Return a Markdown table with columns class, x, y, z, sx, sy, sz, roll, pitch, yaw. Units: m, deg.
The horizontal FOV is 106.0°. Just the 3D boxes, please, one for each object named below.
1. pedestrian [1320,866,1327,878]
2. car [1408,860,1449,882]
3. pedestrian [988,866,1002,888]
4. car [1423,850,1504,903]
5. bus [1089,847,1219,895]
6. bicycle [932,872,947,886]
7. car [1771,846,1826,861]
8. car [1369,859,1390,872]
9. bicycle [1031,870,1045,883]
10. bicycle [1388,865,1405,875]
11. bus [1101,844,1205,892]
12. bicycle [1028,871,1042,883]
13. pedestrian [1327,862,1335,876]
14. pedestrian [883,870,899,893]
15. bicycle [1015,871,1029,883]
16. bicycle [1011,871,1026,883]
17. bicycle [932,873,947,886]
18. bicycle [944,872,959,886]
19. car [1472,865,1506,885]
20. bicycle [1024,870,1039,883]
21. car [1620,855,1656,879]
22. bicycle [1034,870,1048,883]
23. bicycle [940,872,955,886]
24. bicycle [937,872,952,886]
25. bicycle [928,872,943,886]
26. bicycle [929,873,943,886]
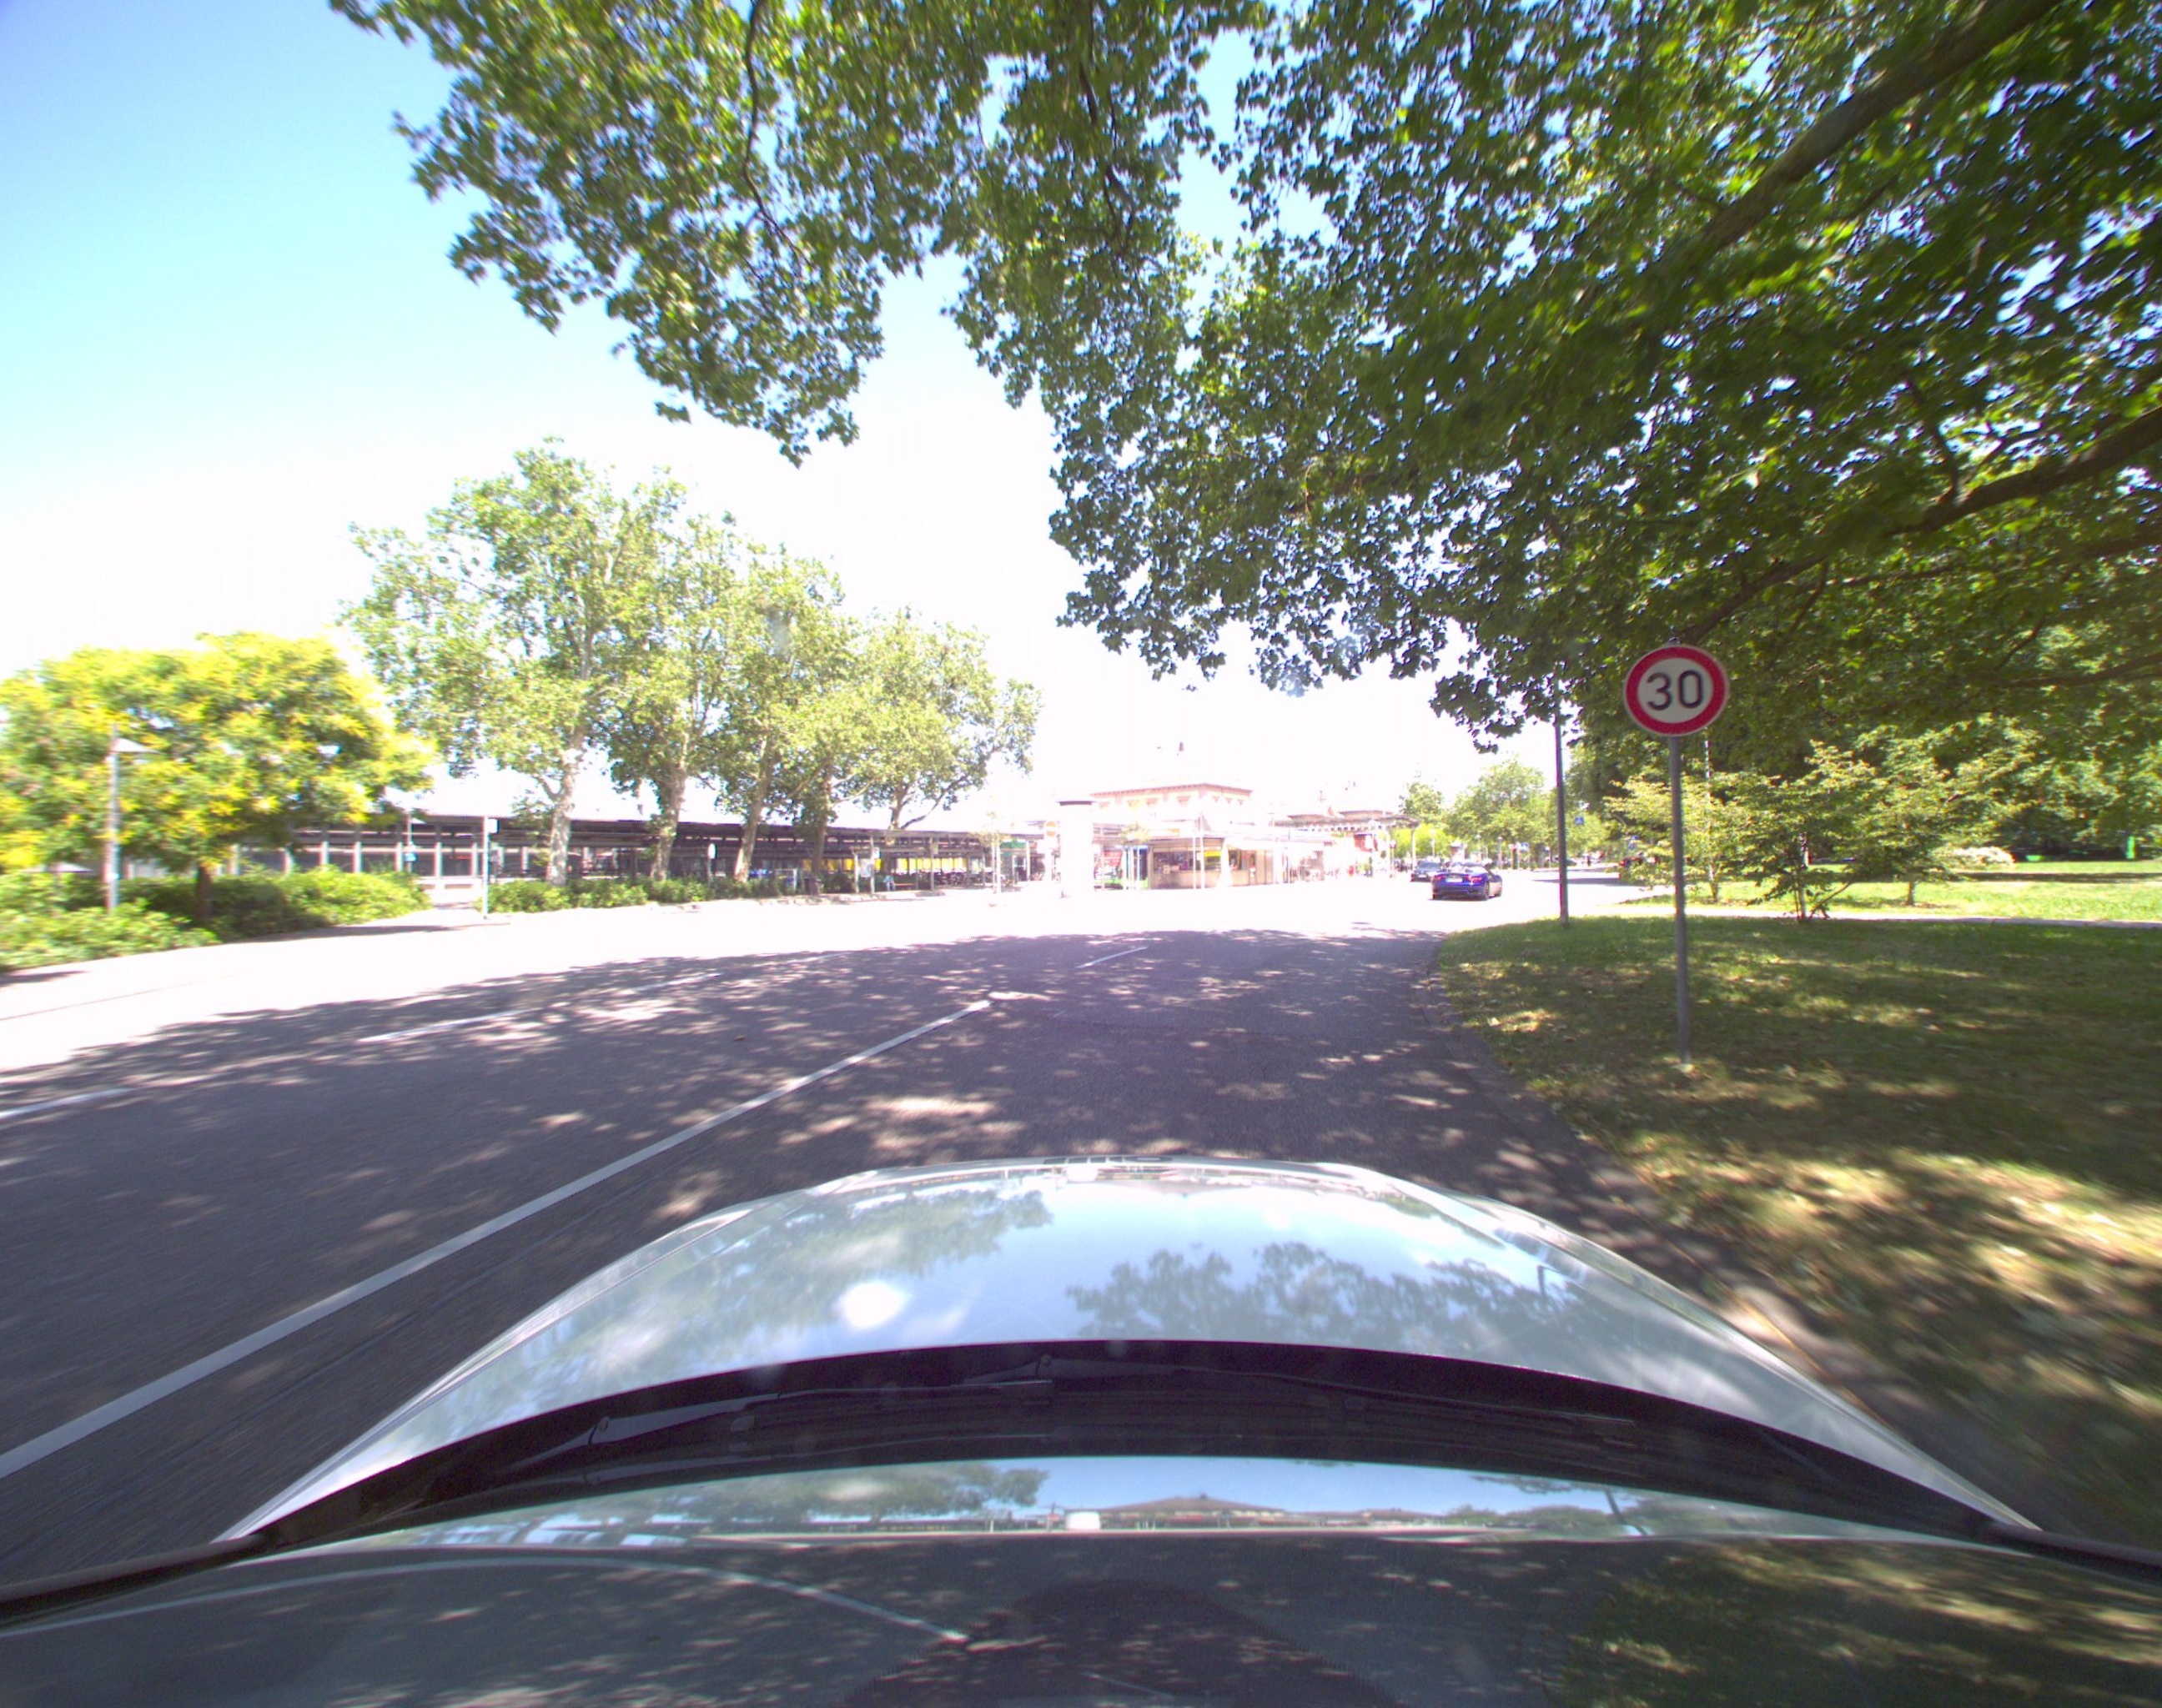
| class | x | y | z | sx | sy | sz | roll | pitch | yaw |
| --- | --- | --- | --- | --- | --- | --- | --- | --- | --- |
| pedestrian | 19.600 | 1.473 | 65.848 | 0.374 | 0.972 | 0.421 | 2 | -4 | -41 |
| car | 24.911 | 1.189 | 58.270 | 1.702 | 1.478 | 4.816 | -3 | -2 | 35 |
| pedestrian | -6.405 | 1.754 | 60.917 | 0.813 | 1.617 | 0.772 | -1 | -3 | 17 |
| car | 14.436 | 0.824 | 30.598 | 2.104 | 1.848 | 4.074 | -1 | -1 | 34 |
| bus | 5.554 | 1.158 | 57.729 | 2.648 | 3.041 | 13.980 | -2 | -2 | 34 |
| bicycle | -11.586 | 2.048 | 66.809 | 1.367 | 1.094 | 0.388 | -2 | -4 | 37 |
| car | 74.867 | -0.045 | 85.051 | 4.065 | 1.466 | 2.013 | -2 | -1 | 34 |
| car | 46.279 | 1.823 | 126.285 | 1.734 | 1.917 | 4.806 | -2 | -1 | 36 |
| bicycle | -3.925 | 2.059 | 74.518 | 1.368 | 1.094 | 0.389 | -2 | -1 | 37 |
| bicycle | 36.649 | 1.856 | 94.500 | 1.780 | 1.031 | 0.490 | -1 | -1 | 12 |
| bus | 6.009 | 1.038 | 64.635 | 2.141 | 3.526 | 12.300 | -2 | -1 | 36 |
| bicycle | -4.182 | 2.066 | 74.172 | 1.368 | 1.094 | 0.389 | -2 | -1 | 37 |
| pedestrian | 30.694 | 1.843 | 99.914 | 0.655 | 1.673 | 0.629 | 0 | -3 | -10 |
| pedestrian | -12.347 | 1.759 | 52.907 | 0.599 | 1.464 | 0.827 | -2 | -2 | 33 |
| bicycle | -5.440 | 2.104 | 75.066 | 1.367 | 1.094 | 0.389 | -2 | -1 | 36 |
| bicycle | -5.724 | 2.114 | 74.668 | 1.367 | 1.093 | 0.389 | -2 | 0 | 35 |
| bicycle | -11.924 | 2.135 | 68.702 | 1.368 | 1.094 | 0.388 | -2 | -4 | 37 |
| bicycle | -10.802 | 2.089 | 67.842 | 1.368 | 1.094 | 0.388 | -2 | -4 | 37 |
| car | 34.760 | 1.762 | 69.398 | 1.797 | 1.444 | 4.185 | -6 | -3 | 36 |
| bicycle | -4.478 | 2.029 | 73.739 | 1.387 | 1.100 | 0.369 | -2 | -1 | 37 |
| car | 36.293 | 0.860 | 53.134 | 1.702 | 1.478 | 3.729 | -2 | -2 | 32 |
| bicycle | -3.669 | 2.063 | 74.859 | 1.368 | 1.094 | 0.389 | -2 | -1 | 37 |
| bicycle | -11.048 | 2.076 | 67.504 | 1.368 | 1.094 | 0.388 | -2 | -4 | 37 |
| bicycle | -11.290 | 2.062 | 67.172 | 1.368 | 1.094 | 0.388 | -2 | -4 | 37 |
| bicycle | -11.881 | 2.033 | 66.444 | 1.368 | 1.094 | 0.388 | -2 | -4 | 37 |
| bicycle | -12.186 | 2.122 | 68.360 | 1.368 | 1.094 | 0.388 | -2 | -4 | 37 |
